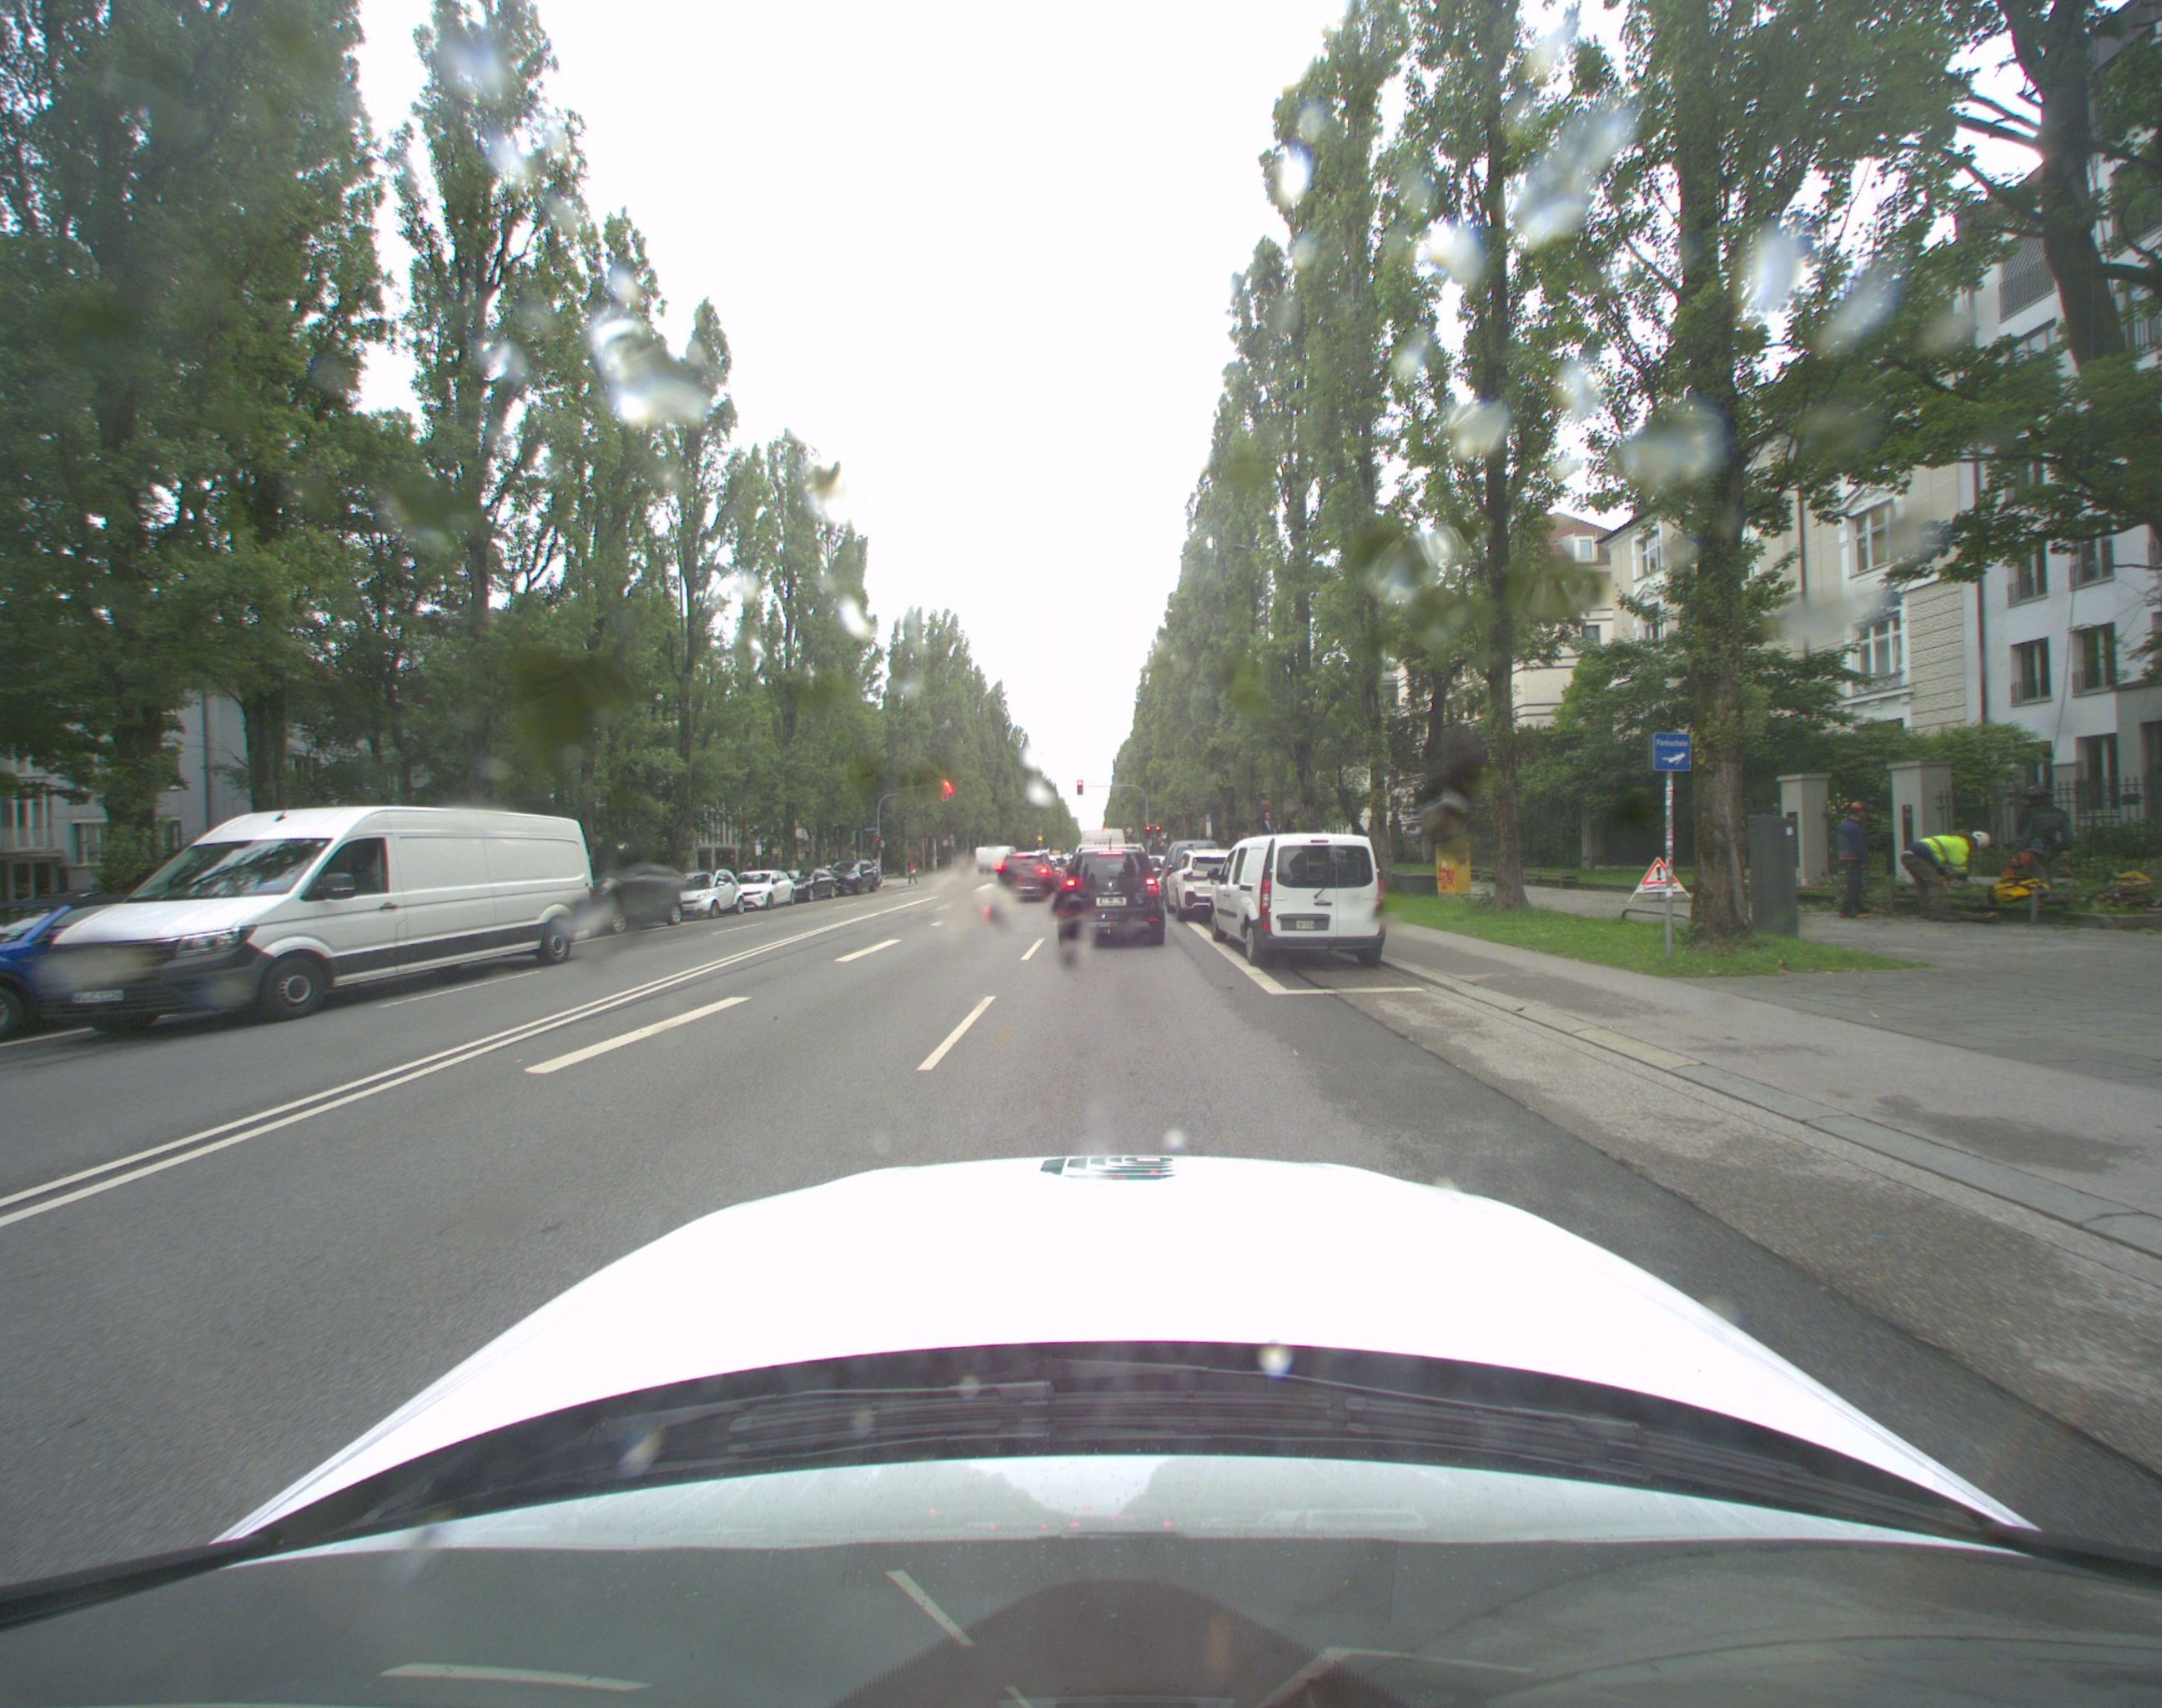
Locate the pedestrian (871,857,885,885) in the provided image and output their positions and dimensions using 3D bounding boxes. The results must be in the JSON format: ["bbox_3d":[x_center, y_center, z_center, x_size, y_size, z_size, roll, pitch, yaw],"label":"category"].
[{"bbox_3d":[-11.946,1.002,47.931,0.658,1.577,0.530,-2,0,2],"label":"pedestrian"}]

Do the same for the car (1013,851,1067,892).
[{"bbox_3d":[-1.665,0.682,34.400,1.987,1.560,4.000,-2,1,0],"label":"car"}]

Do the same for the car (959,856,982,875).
[{"bbox_3d":[-10.992,1.100,81.204,1.682,1.783,3.776,-2,0,1],"label":"car"}]

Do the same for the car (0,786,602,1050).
[{"bbox_3d":[-9.879,0.638,11.435,2.221,2.483,6.756,-4,0,-1],"label":"car"}]

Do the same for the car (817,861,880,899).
[{"bbox_3d":[-11.831,1.269,41.778,1.844,1.654,4.693,-4,0,-1],"label":"car"}]

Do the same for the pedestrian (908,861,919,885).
[{"bbox_3d":[-10.591,1.190,51.405,0.515,1.485,0.537,-2,0,2],"label":"pedestrian"}]

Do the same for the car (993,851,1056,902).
[{"bbox_3d":[-1.870,0.705,28.109,1.775,1.620,4.026,0,0,1],"label":"car"}]

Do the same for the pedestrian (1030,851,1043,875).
[{"bbox_3d":[-3.812,0.752,70.218,0.881,2.013,1.014,-2,0,4],"label":"pedestrian"}]

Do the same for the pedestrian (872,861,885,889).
[{"bbox_3d":[-11.435,1.188,45.997,0.526,1.577,0.662,-2,0,2],"label":"pedestrian"}]

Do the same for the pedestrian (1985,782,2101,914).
[{"bbox_3d":[13.850,-0.106,11.739,0.905,1.800,0.825,-3,2,-20],"label":"pedestrian"}]

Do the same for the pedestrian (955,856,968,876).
[{"bbox_3d":[-10.850,1.069,74.005,0.874,1.764,0.880,-2,0,10],"label":"pedestrian"}]

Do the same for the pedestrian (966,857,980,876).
[{"bbox_3d":[-9.452,1.096,71.331,0.887,1.655,0.868,-2,0,-37],"label":"pedestrian"}]

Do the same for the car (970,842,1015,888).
[{"bbox_3d":[-4.303,0.518,40.127,1.776,2.111,4.022,-2,0,-2],"label":"car"}]

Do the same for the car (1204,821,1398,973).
[{"bbox_3d":[3.117,0.534,12.469,1.845,1.881,4.168,-2,0,1],"label":"car"}]

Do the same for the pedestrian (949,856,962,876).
[{"bbox_3d":[-11.259,1.070,73.068,0.874,1.764,0.880,-2,0,10],"label":"pedestrian"}]

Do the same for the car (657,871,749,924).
[{"bbox_3d":[-12.053,1.347,26.158,1.422,1.447,2.966,-5,0,1],"label":"car"}]

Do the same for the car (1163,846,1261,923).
[{"bbox_3d":[3.019,0.634,19.566,1.734,1.593,4.213,-2,0,1],"label":"car"}]

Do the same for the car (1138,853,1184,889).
[{"bbox_3d":[3.521,0.713,36.216,1.729,1.475,3.563,-2,0,1],"label":"car"}]

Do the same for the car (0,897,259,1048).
[{"bbox_3d":[-12.317,1.384,9.508,1.704,1.451,3.585,-4,0,0],"label":"car"}]

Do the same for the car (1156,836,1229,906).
[{"bbox_3d":[3.311,0.473,24.838,1.729,1.895,4.026,-2,0,1],"label":"car"}]

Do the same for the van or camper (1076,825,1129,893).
[{"bbox_3d":[0.820,0.180,33.610,1.969,2.548,4.024,-2,0,0],"label":"van or camper"}]

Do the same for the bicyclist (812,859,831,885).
[{"bbox_3d":[-17.845,1.260,55.928,0.900,1.722,0.827,-2,0,11],"label":"bicyclist"}]

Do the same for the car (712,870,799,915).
[{"bbox_3d":[-12.035,1.378,30.390,1.619,1.389,4.163,-4,0,-2],"label":"car"}]

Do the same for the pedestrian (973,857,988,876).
[{"bbox_3d":[-8.994,1.097,72.843,0.887,1.655,0.868,-2,0,-37],"label":"pedestrian"}]

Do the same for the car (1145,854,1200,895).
[{"bbox_3d":[3.411,0.742,30.913,1.729,1.387,3.563,-2,0,1],"label":"car"}]

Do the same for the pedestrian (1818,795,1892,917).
[{"bbox_3d":[12.244,0.032,12.892,0.487,1.862,0.635,-2,0,-16],"label":"pedestrian"}]

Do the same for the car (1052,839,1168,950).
[{"bbox_3d":[0.520,0.643,14.970,1.849,1.770,4.001,0,0,1],"label":"car"}]

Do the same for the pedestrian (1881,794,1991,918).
[{"bbox_3d":[12.884,0.030,12.292,0.801,1.782,0.816,-2,0,-16],"label":"pedestrian"}]

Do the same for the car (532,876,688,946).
[{"bbox_3d":[-12.140,1.404,21.294,1.594,1.425,3.854,-4,0,3],"label":"car"}]

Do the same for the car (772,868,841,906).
[{"bbox_3d":[-12.013,1.397,35.894,1.619,1.389,4.165,-4,0,-1],"label":"car"}]

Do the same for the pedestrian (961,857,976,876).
[{"bbox_3d":[-9.961,1.109,72.097,0.887,1.655,0.868,-2,0,-37],"label":"pedestrian"}]
